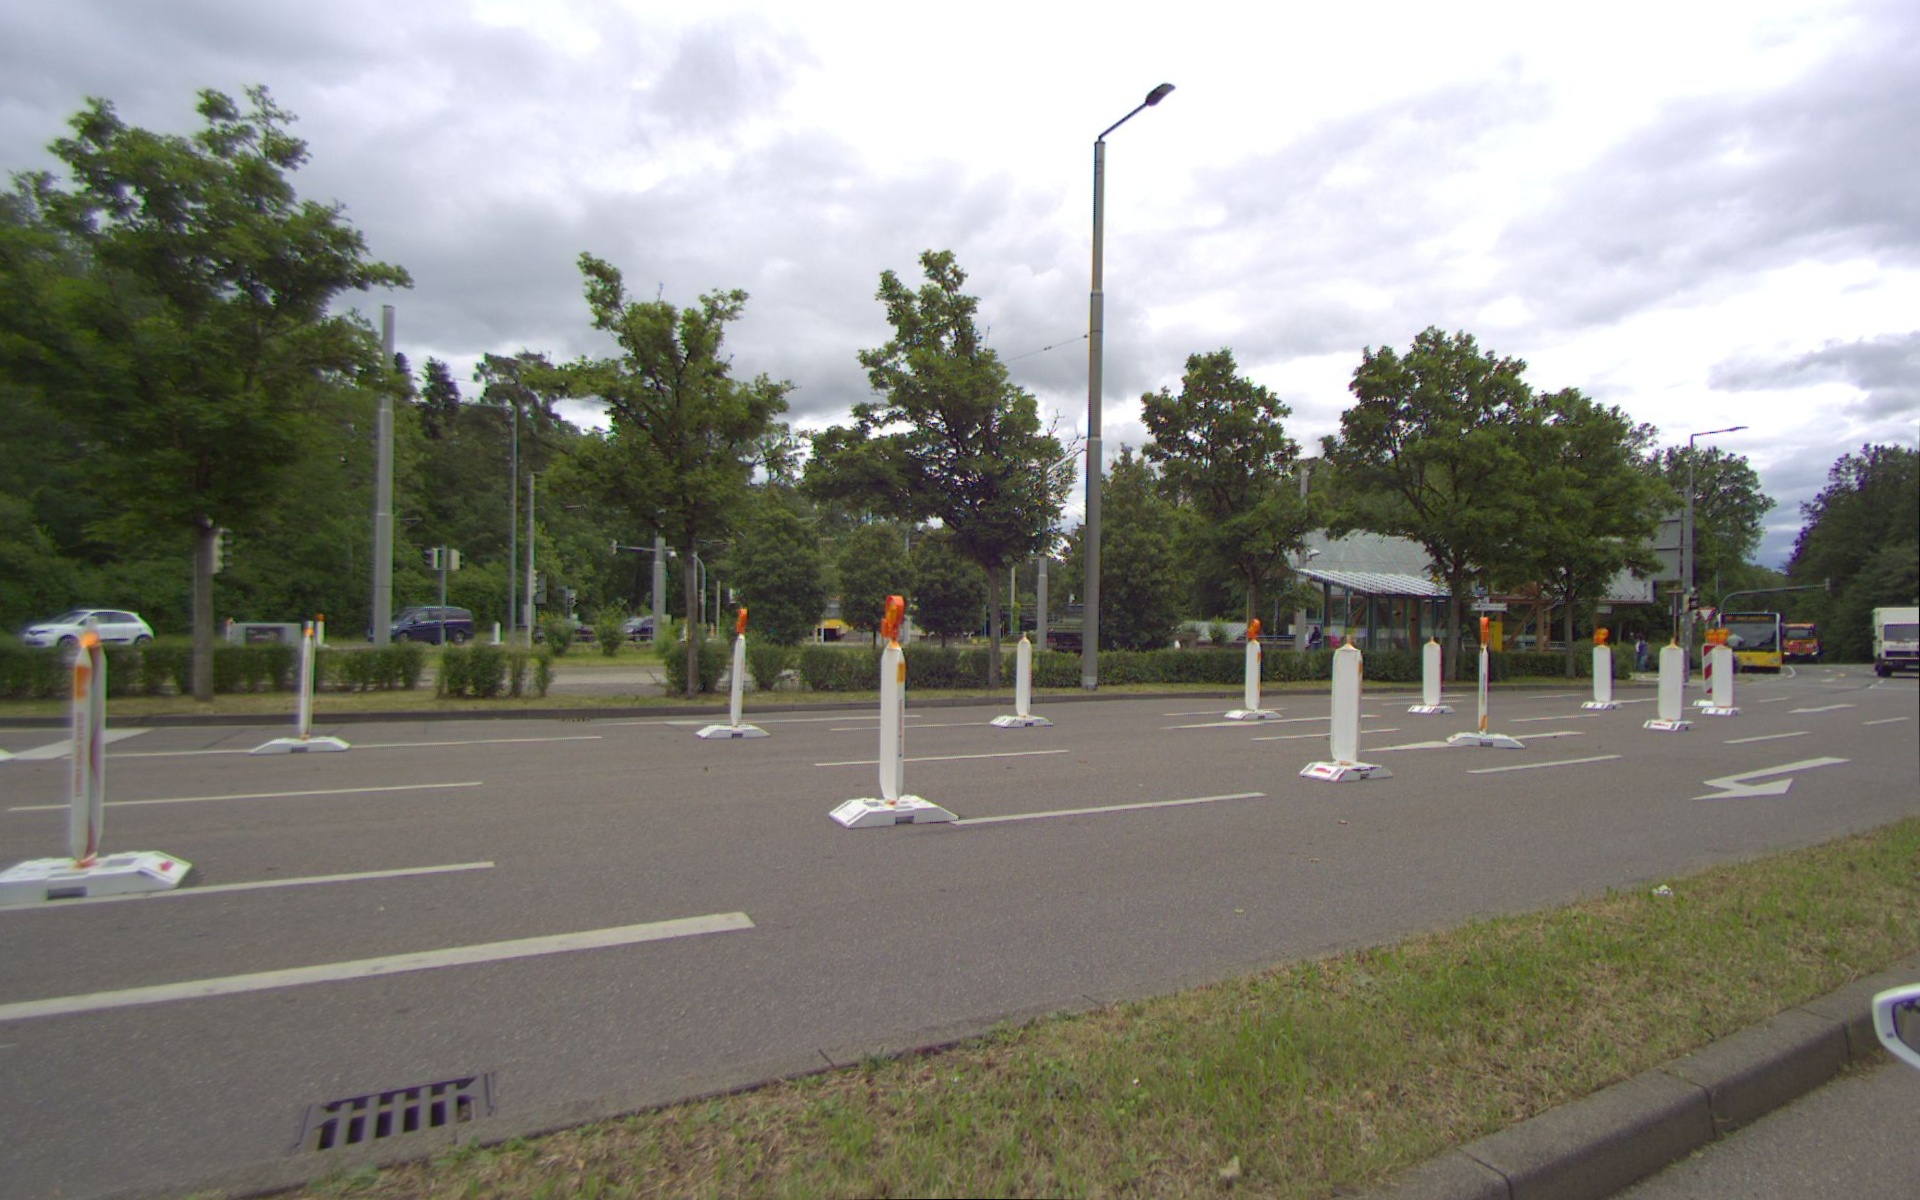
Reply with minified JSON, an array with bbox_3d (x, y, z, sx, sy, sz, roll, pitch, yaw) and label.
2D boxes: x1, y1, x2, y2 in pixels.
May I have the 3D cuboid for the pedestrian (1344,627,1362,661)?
[{"bbox_3d":[19.642,2.199,50.213,0.573,1.646,0.673,2,0,-9],"label":"pedestrian"}]

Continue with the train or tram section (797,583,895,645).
[{"bbox_3d":[-9.292,1.128,85.812,3.514,4.594,18.695,2,0,9],"label":"train or tram section"}]

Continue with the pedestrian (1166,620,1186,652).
[{"bbox_3d":[11.193,1.869,52.074,0.770,1.646,0.769,2,0,-3],"label":"pedestrian"}]

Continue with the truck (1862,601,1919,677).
[{"bbox_3d":[43.314,1.813,45.954,6.166,3.280,2.603,3,-4,-45],"label":"truck"}]

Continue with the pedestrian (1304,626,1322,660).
[{"bbox_3d":[17.703,2.153,50.390,0.573,1.646,0.673,2,0,-9],"label":"pedestrian"}]

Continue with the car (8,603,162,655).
[{"bbox_3d":[-31.713,1.026,36.521,1.822,1.745,3.793,2,0,19],"label":"car"}]

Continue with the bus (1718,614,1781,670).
[{"bbox_3d":[47.875,2.535,60.837,2.864,3.168,8.656,0,-2,39],"label":"bus"}]

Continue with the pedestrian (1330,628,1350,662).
[{"bbox_3d":[18.823,2.207,49.787,0.578,1.646,0.668,2,0,-33],"label":"pedestrian"}]

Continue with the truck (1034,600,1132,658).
[{"bbox_3d":[5.325,1.195,42.616,2.557,2.199,6.301,2,0,22],"label":"truck"}]

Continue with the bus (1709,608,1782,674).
[{"bbox_3d":[42.086,2.187,53.721,2.864,3.168,9.717,0,-2,39],"label":"bus"}]

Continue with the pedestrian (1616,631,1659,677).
[{"bbox_3d":[25.806,2.052,38.285,1.077,1.698,0.907,2,-2,-19],"label":"pedestrian"}]

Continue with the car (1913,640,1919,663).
[{"bbox_3d":[66.876,3.582,69.098,1.789,1.528,4.284,-2,-4,43],"label":"car"}]

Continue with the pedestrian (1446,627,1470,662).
[{"bbox_3d":[22.815,2.028,46.014,0.757,1.545,0.871,2,0,43],"label":"pedestrian"}]

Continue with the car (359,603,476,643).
[{"bbox_3d":[-26.941,1.124,50.053,1.963,1.840,4.828,2,0,27],"label":"car"}]

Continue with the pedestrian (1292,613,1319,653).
[{"bbox_3d":[14.983,1.412,43.608,0.675,1.687,0.866,2,0,-20],"label":"pedestrian"}]

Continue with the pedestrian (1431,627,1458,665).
[{"bbox_3d":[24.588,2.325,51.000,0.752,1.833,0.994,2,0,-6],"label":"pedestrian"}]

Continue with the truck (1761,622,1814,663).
[{"bbox_3d":[71.425,3.752,86.813,2.702,3.361,7.141,-2,-4,34],"label":"truck"}]

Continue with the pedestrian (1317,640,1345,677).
[{"bbox_3d":[16.034,2.525,43.404,0.779,1.572,0.773,2,0,-16],"label":"pedestrian"}]
